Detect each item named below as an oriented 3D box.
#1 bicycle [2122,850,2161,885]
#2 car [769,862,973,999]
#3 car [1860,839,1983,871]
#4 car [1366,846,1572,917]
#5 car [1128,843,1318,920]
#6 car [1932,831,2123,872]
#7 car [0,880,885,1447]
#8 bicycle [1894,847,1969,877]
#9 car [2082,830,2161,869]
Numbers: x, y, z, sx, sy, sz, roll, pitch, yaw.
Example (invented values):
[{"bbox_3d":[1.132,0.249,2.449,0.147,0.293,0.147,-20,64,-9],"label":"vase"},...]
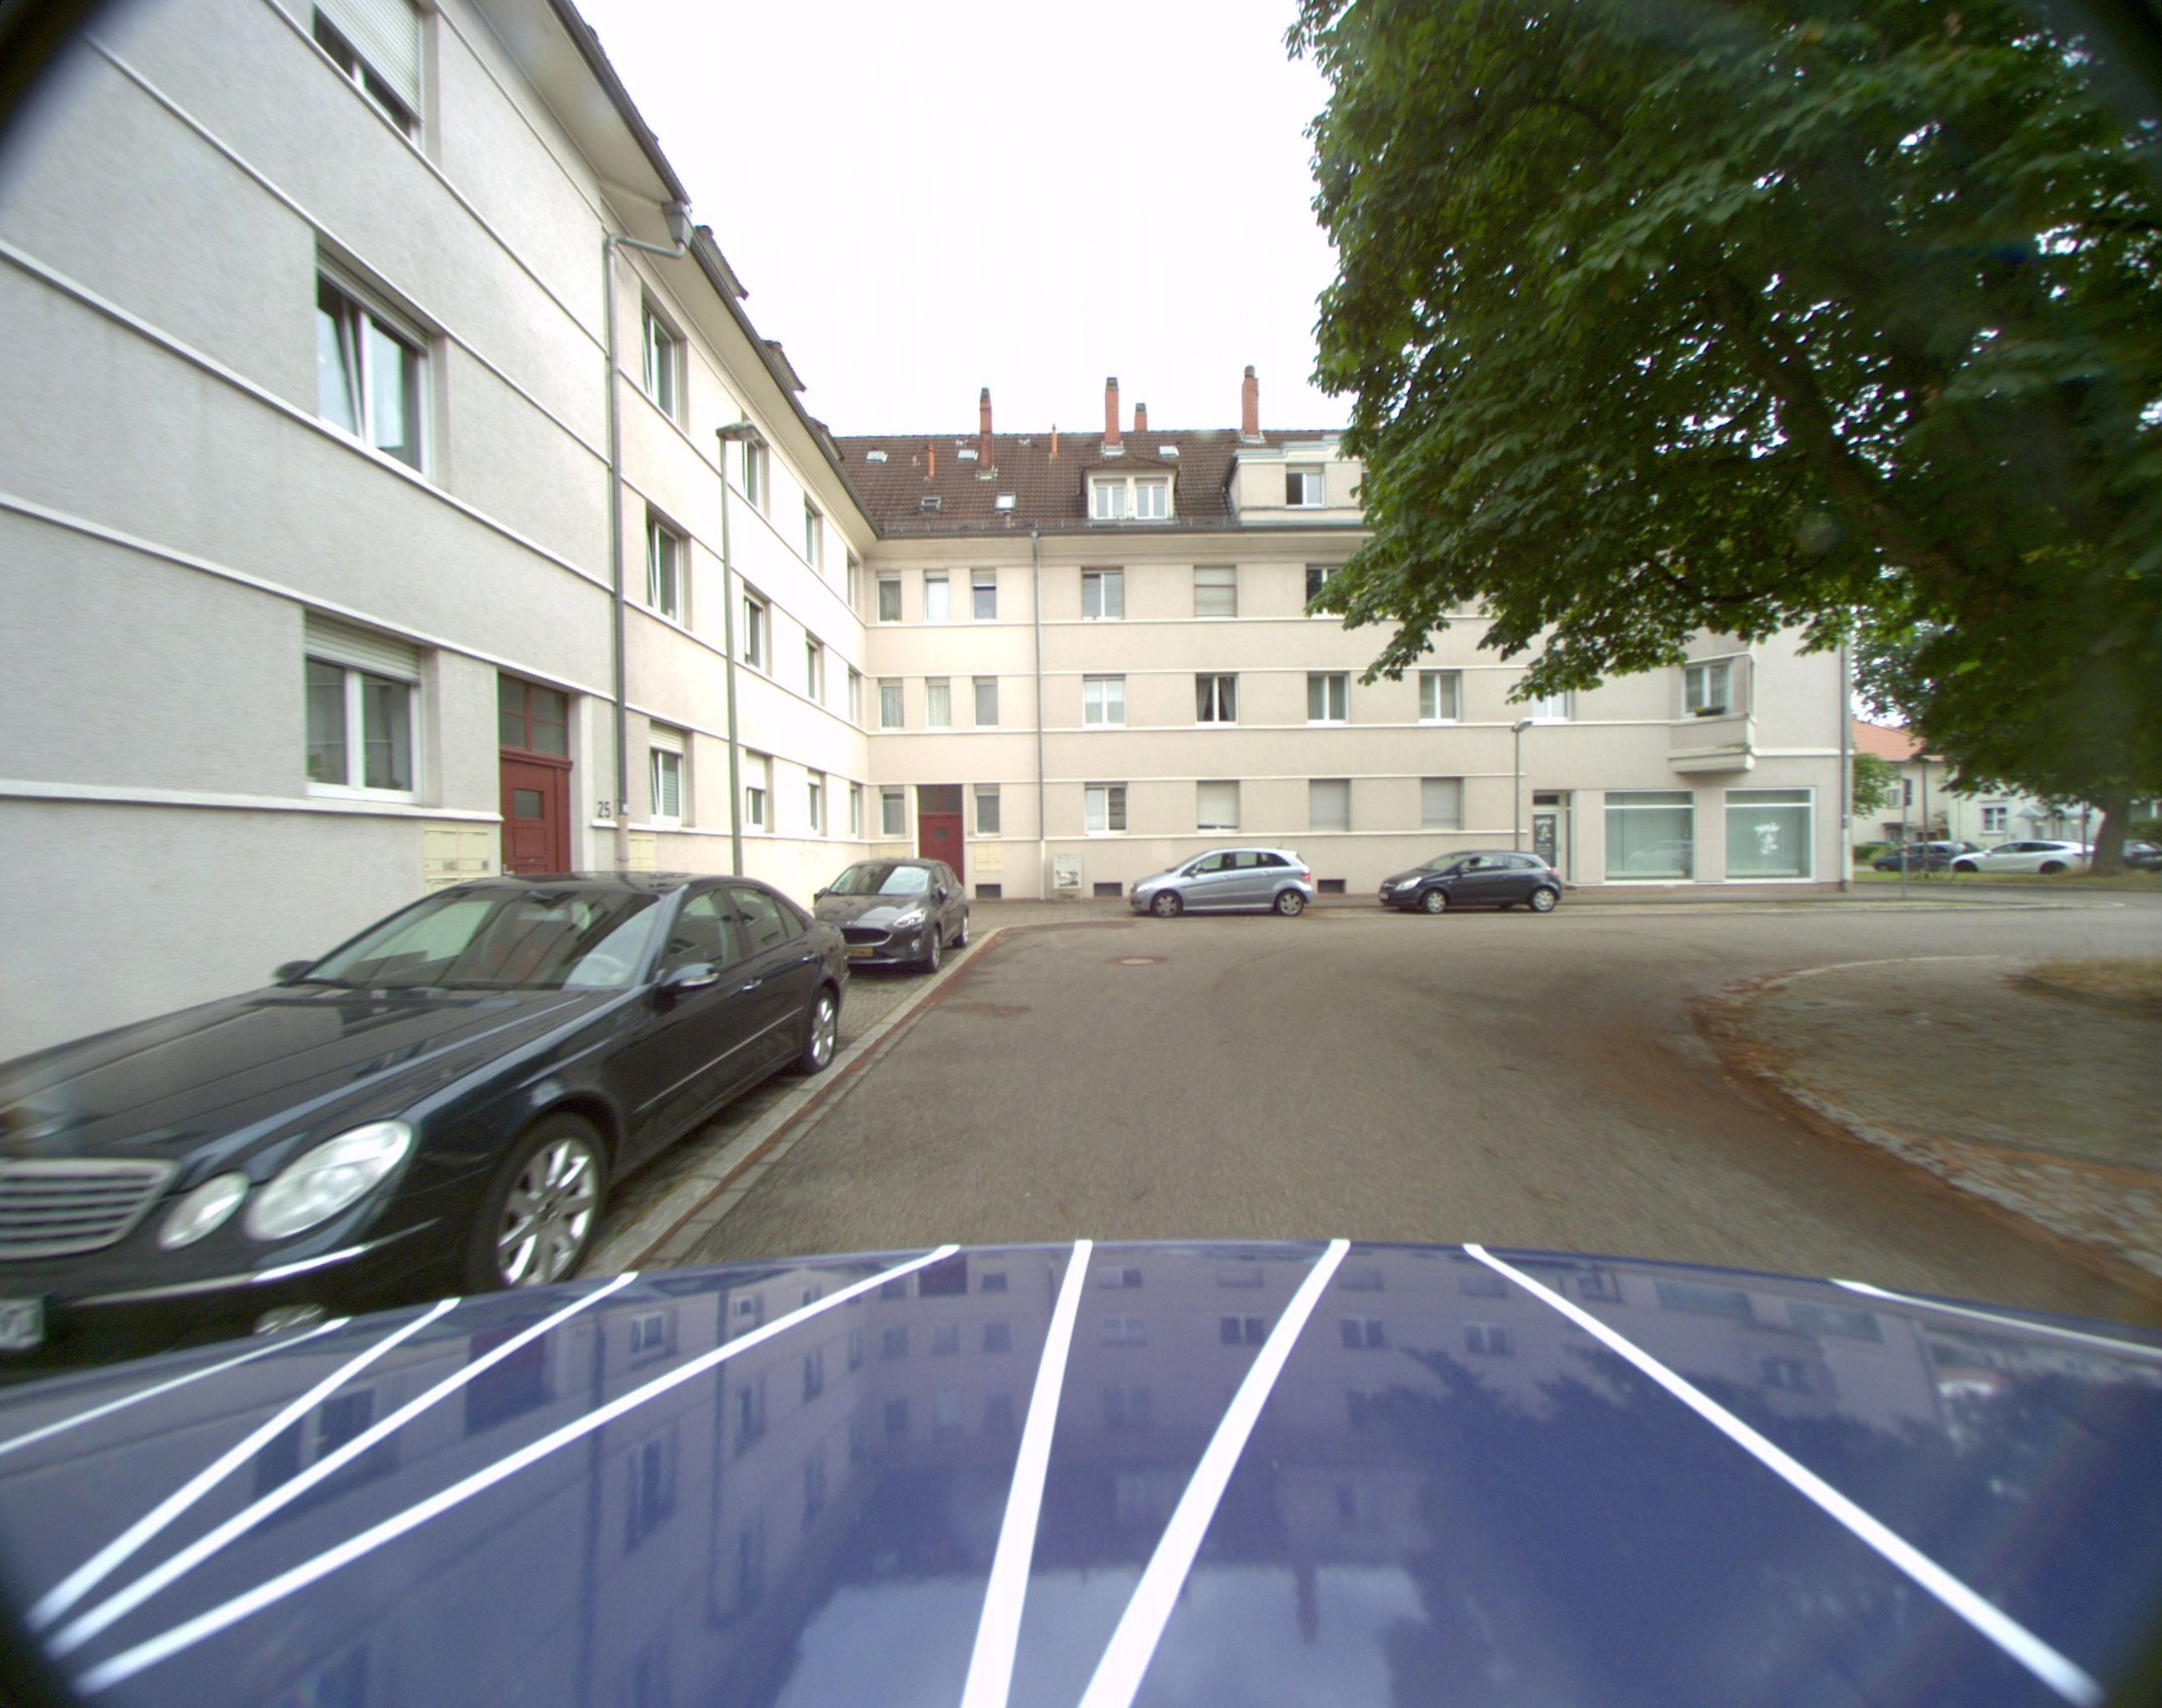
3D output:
[{"bbox_3d":[31.620,0.394,21.733,0.512,0.980,2.181,-4,0,-7],"label":"bicycle"},{"bbox_3d":[-2.679,0.893,10.697,1.761,1.516,4.079,0,0,-1],"label":"car"},{"bbox_3d":[44.830,0.064,40.673,1.704,1.557,4.208,-3,0,-6],"label":"car"},{"bbox_3d":[9.057,0.607,17.975,3.933,1.481,1.762,-2,0,1],"label":"car"},{"bbox_3d":[3.229,0.629,17.969,4.196,1.618,1.763,-2,1,3],"label":"car"},{"bbox_3d":[40.036,-0.111,32.380,1.902,1.557,4.881,-1,0,-5],"label":"car"},{"bbox_3d":[-2.686,0.953,4.600,1.749,1.412,4.949,0,0,-1],"label":"car"},{"bbox_3d":[31.796,0.287,28.453,0.667,1.060,1.884,-1,0,-2],"label":"bicycle"},{"bbox_3d":[45.426,-0.188,31.723,1.704,1.557,4.209,-3,0,-1],"label":"car"}]
